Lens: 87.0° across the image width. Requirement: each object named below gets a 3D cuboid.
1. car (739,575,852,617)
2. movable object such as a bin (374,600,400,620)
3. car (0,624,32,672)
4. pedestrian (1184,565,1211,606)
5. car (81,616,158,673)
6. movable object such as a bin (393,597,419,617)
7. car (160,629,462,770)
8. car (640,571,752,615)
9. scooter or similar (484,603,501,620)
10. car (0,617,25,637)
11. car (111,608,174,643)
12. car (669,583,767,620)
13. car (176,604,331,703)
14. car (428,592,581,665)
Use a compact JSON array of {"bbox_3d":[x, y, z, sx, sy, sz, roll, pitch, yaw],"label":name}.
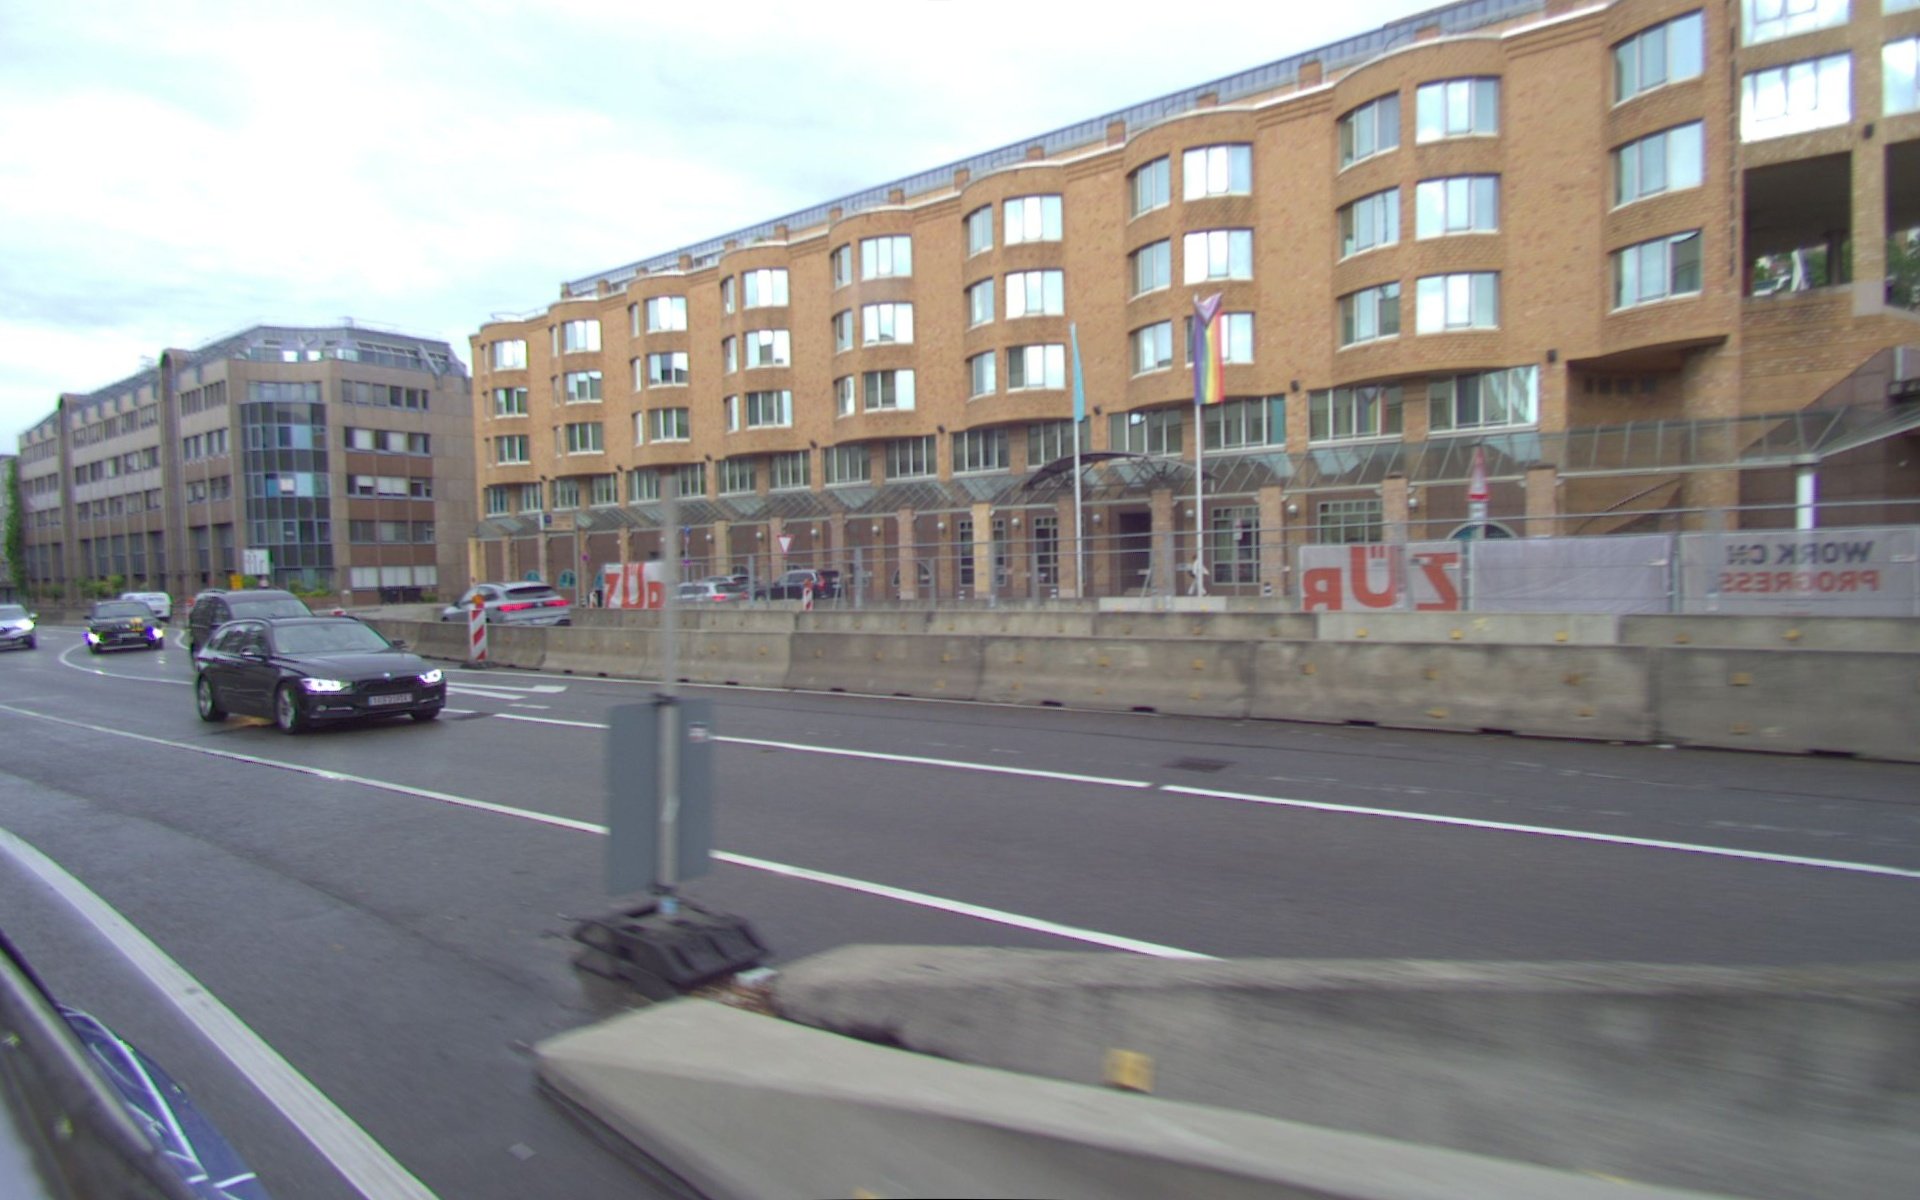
[{"bbox_3d":[-7.399,-0.166,45.324,5.039,1.703,1.976,-1,2,36],"label":"car"},{"bbox_3d":[-43.084,0.754,76.126,1.348,1.491,1.231,-1,2,38],"label":"movable object such as a bin"},{"bbox_3d":[-34.692,1.709,36.281,4.657,1.545,1.748,0,3,44],"label":"car"},{"bbox_3d":[8.714,-0.522,37.108,0.736,1.463,0.610,-1,1,39],"label":"pedestrian"},{"bbox_3d":[-27.124,1.383,32.751,1.745,1.545,4.364,-4,2,-39],"label":"car"},{"bbox_3d":[-42.342,0.551,77.339,1.348,1.491,1.232,-1,2,37],"label":"movable object such as a bin"},{"bbox_3d":[-8.816,1.196,13.599,4.645,1.454,1.753,-1,2,35],"label":"car"},{"bbox_3d":[-10.119,-0.258,38.688,4.355,1.537,1.744,-1,1,36],"label":"car"},{"bbox_3d":[-31.267,0.770,67.670,1.041,1.070,0.445,-1,2,31],"label":"scooter or similar"},{"bbox_3d":[-77.492,2.164,81.639,4.216,1.470,1.978,-1,2,33],"label":"car"},{"bbox_3d":[-49.243,1.500,60.911,4.865,1.899,1.974,-1,2,40],"label":"car"},{"bbox_3d":[-11.635,0.064,48.652,4.526,1.605,1.978,-1,2,33],"label":"car"},{"bbox_3d":[-15.231,1.045,21.743,4.250,1.813,1.775,0,3,43],"label":"car"},{"bbox_3d":[-11.781,0.695,26.028,4.704,1.635,1.971,-1,1,45],"label":"car"}]
